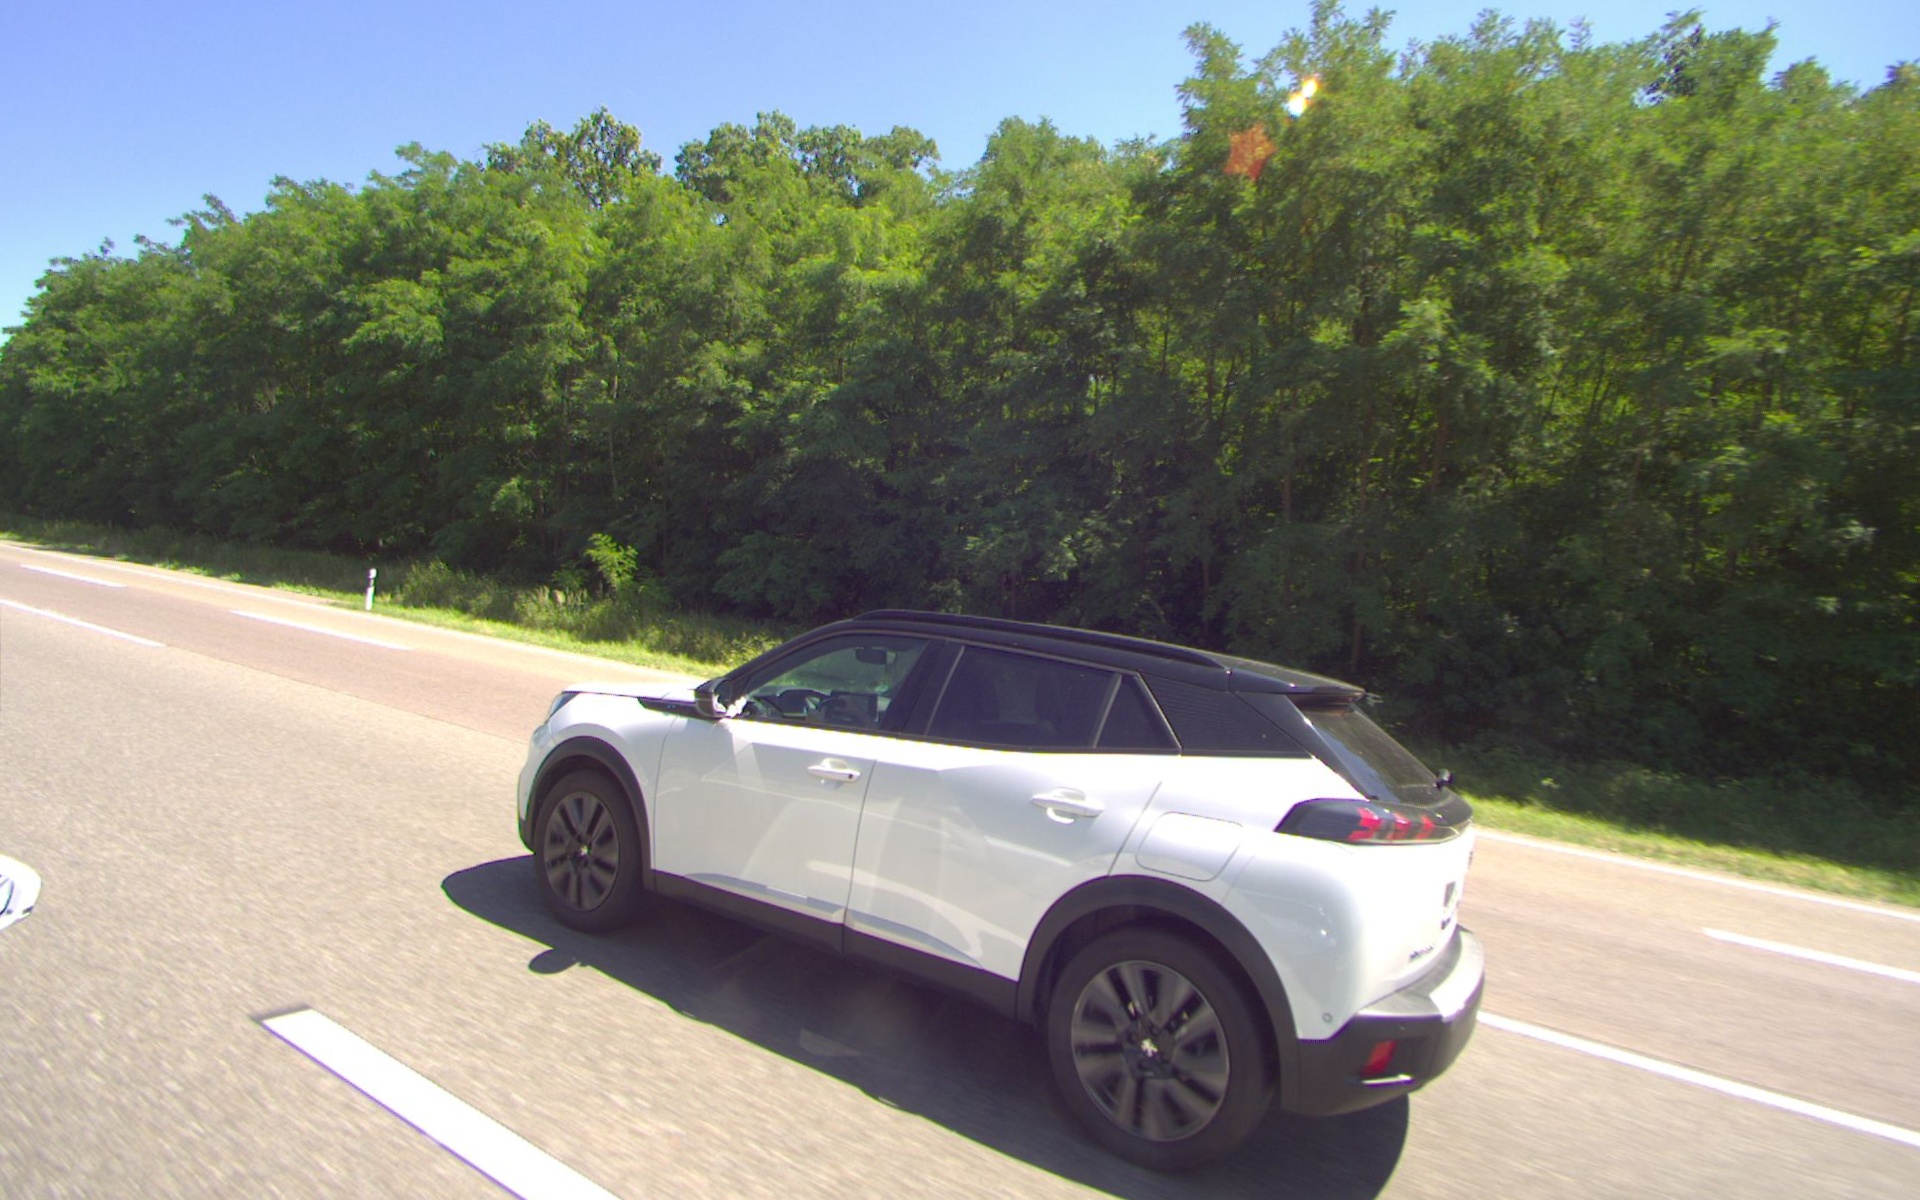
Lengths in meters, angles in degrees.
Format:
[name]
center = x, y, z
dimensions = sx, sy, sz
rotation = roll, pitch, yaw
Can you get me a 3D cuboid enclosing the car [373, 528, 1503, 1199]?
[car]
center = -0.358, 0.745, 4.535
dimensions = 4.729, 1.627, 1.830
rotation = 6, -1, 32
